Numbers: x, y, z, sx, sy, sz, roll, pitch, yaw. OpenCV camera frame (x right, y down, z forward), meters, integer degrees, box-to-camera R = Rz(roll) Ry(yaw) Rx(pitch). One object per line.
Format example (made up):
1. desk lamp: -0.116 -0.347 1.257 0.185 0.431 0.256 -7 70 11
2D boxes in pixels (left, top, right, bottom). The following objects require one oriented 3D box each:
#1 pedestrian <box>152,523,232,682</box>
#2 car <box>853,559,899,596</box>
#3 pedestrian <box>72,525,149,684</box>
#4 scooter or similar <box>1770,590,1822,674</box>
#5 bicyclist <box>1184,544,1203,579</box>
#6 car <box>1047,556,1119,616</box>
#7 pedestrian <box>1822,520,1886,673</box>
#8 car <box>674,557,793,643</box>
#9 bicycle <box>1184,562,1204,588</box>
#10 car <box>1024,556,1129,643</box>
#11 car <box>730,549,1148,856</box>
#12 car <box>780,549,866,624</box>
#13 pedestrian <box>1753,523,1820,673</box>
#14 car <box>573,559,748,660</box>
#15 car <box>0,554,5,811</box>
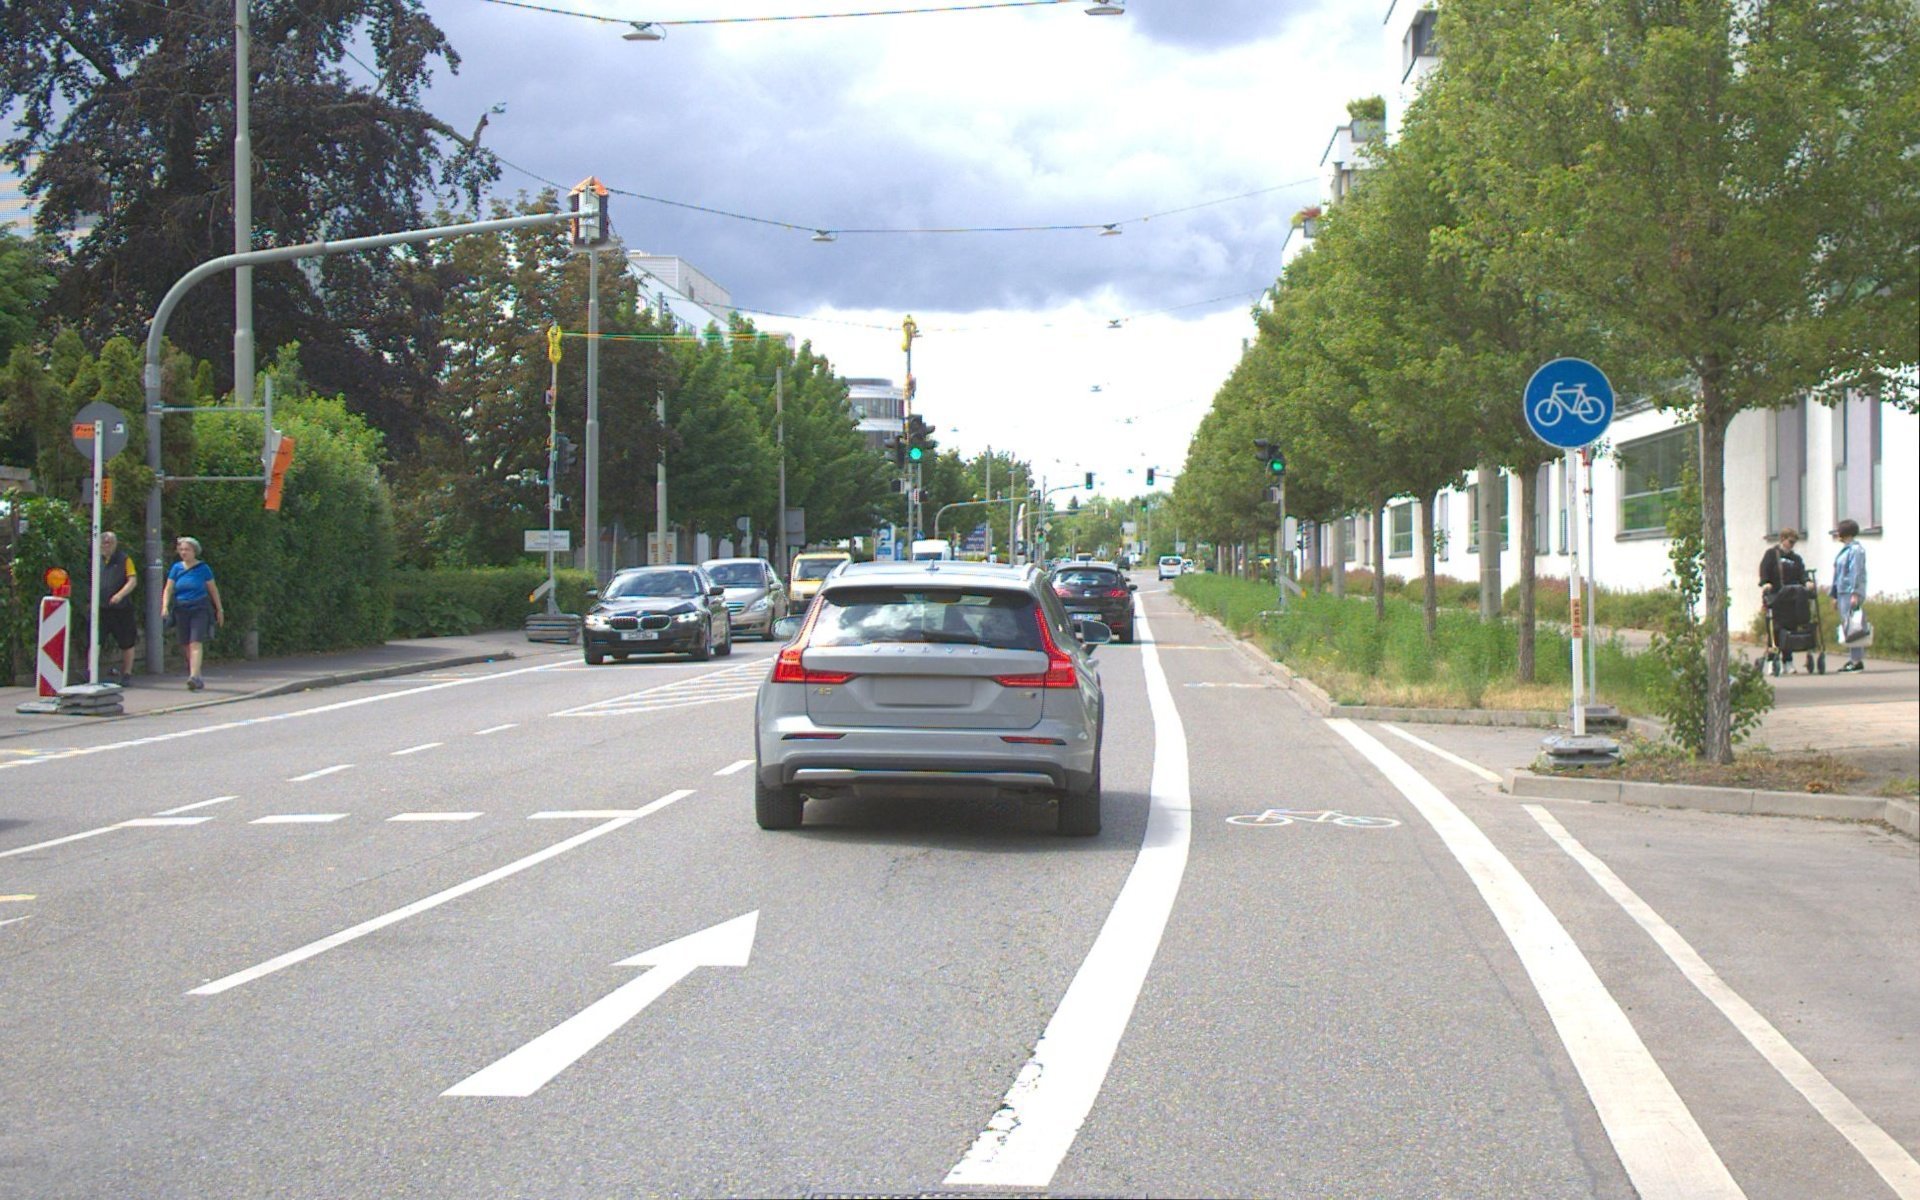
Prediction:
1. pedestrian: -9.043 0.030 40.495 0.681 1.848 0.892 -1 0 3
2. car: -3.508 -0.949 143.507 1.661 1.510 4.000 0 1 2
3. pedestrian: -10.006 0.048 40.521 0.681 1.848 0.706 -1 0 3
4. scooter or similar: 9.168 0.351 37.707 0.421 0.902 0.682 -1 0 2
5. bicyclist: 13.451 -2.206 198.019 1.014 2.007 1.131 -1 0 2
6. car: 3.248 -0.387 90.902 1.845 1.508 4.000 1 1 2
7. pedestrian: 9.806 -0.041 37.721 0.550 1.649 0.607 -1 0 3
8. car: -4.303 -0.023 65.882 1.749 1.550 4.402 -1 1 3
9. bicycle: 13.468 -1.426 197.922 1.067 1.448 2.977 -1 1 2
10. car: 2.143 -0.034 63.266 1.854 1.508 4.000 1 1 2
11. car: -0.004 0.495 19.470 1.855 1.508 3.999 2 1 7
12. car: -3.586 -0.362 90.602 1.841 1.898 4.685 -1 1 2
13. pedestrian: 9.186 -0.027 38.237 0.605 1.649 0.552 -1 0 3
14. car: -4.523 0.122 52.563 1.994 1.395 4.810 -2 0 3
15. car: -6.777 0.517 18.326 1.855 1.508 3.999 -1 0 7
